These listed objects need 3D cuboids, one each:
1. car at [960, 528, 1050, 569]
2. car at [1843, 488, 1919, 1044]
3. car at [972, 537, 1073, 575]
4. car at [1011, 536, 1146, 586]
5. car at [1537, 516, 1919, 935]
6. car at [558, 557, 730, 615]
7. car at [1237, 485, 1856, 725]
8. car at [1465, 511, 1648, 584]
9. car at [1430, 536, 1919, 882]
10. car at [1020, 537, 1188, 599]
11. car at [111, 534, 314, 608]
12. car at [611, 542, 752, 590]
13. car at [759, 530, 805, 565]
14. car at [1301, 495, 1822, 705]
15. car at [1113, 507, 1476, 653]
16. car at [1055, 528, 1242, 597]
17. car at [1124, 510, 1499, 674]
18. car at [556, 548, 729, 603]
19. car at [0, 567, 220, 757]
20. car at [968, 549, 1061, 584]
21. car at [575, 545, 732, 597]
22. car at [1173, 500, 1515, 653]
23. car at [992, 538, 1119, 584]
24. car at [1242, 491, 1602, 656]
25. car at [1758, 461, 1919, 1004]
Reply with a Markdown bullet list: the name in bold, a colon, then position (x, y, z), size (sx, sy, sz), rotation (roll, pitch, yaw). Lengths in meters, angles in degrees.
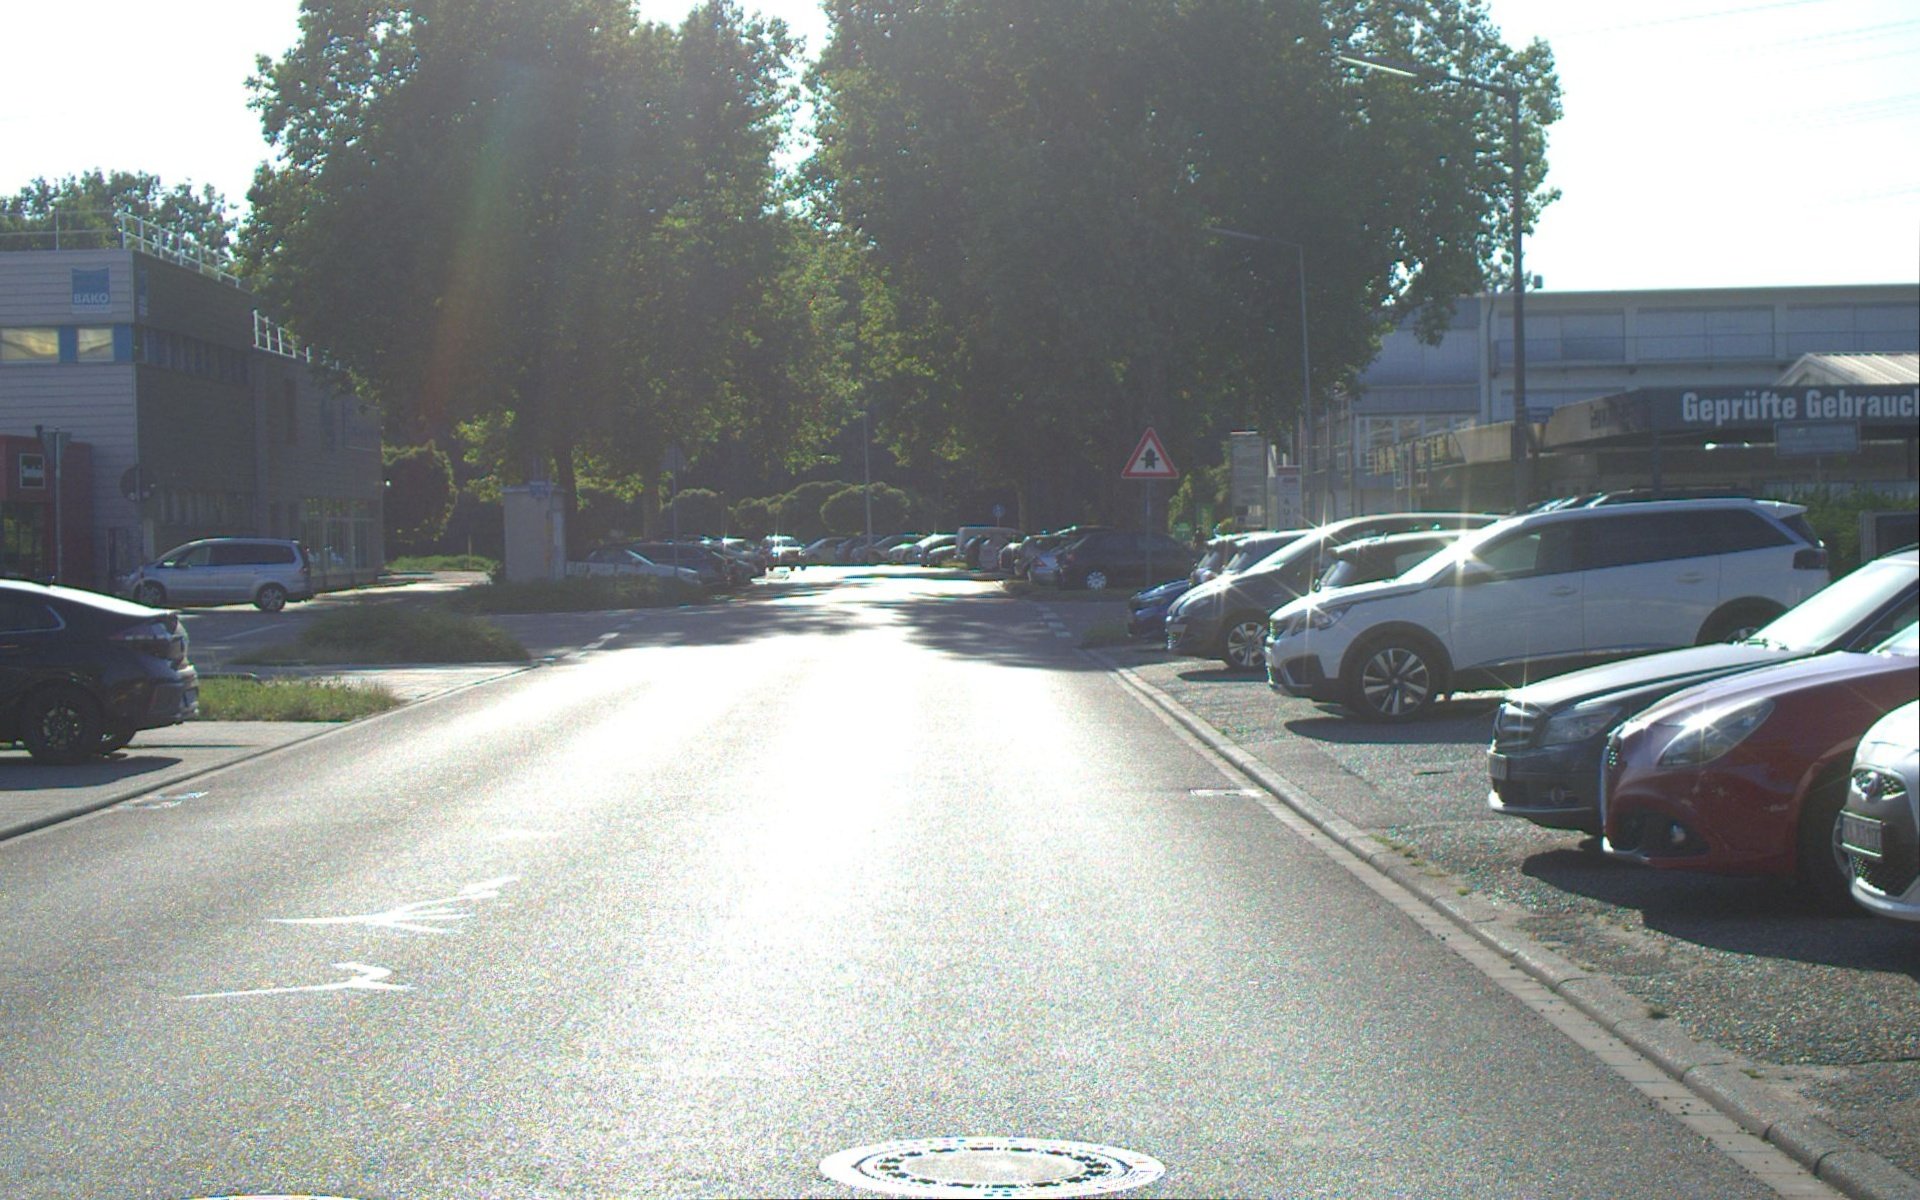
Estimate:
- **car**: position (2.021, -2.325, 155.381), size (3.987, 1.771, 1.827), rotation (-2, 1, 0)
- **car**: position (4.848, 0.426, 9.645), size (4.108, 1.612, 2.059), rotation (-2, 1, -4)
- **car**: position (2.522, -1.780, 139.371), size (3.987, 1.411, 1.827), rotation (-2, 1, 0)
- **car**: position (3.588, -1.192, 104.779), size (3.987, 1.411, 1.827), rotation (-2, 1, 0)
- **car**: position (4.682, 0.475, 14.162), size (4.241, 1.599, 1.746), rotation (0, 1, -4)
- **car**: position (-8.343, -0.382, 90.931), size (4.415, 1.511, 2.000), rotation (0, 1, -2)
- **car**: position (4.749, 0.025, 28.344), size (4.554, 1.592, 2.202), rotation (-4, 1, -3)
- **car**: position (14.243, -1.249, 82.189), size (3.986, 1.694, 2.000), rotation (0, 1, -1)
- **car**: position (4.657, 0.422, 16.470), size (4.436, 1.431, 2.135), rotation (-3, 1, -1)
- **car**: position (3.486, -0.783, 83.899), size (3.987, 1.411, 1.827), rotation (-2, 1, 0)
- **car**: position (-17.912, -0.695, 82.318), size (4.628, 1.735, 2.001), rotation (0, 1, -16)
- **car**: position (-9.072, -1.115, 112.158), size (4.415, 1.511, 2.000), rotation (0, 1, 1)
- **car**: position (-8.502, -2.492, 164.226), size (1.993, 1.603, 4.000), rotation (1, 1, 0)
- **car**: position (5.341, -0.015, 30.933), size (4.248, 1.618, 1.921), rotation (-3, 1, -1)
- **car**: position (4.440, -0.281, 46.042), size (4.523, 1.667, 1.754), rotation (-3, 1, -4)
- **car**: position (4.170, -0.831, 76.557), size (3.987, 1.411, 2.000), rotation (-2, 1, 0)
- **car**: position (3.929, -0.095, 38.398), size (3.988, 1.608, 1.999), rotation (-2, 0, 7)
- **car**: position (-8.192, -0.644, 88.748), size (4.414, 1.398, 2.000), rotation (0, 1, -5)
- **car**: position (-8.246, 0.466, 27.380), size (4.313, 1.455, 2.202), rotation (0, 0, -3)
- **car**: position (2.394, -1.482, 151.621), size (3.987, 1.411, 1.827), rotation (-2, 1, 0)
- **car**: position (-9.035, -0.867, 101.516), size (4.415, 1.511, 2.000), rotation (0, 1, 1)
- **car**: position (4.824, -0.303, 43.560), size (3.986, 1.646, 1.743), rotation (-4, 1, -3)
- **car**: position (3.073, -1.247, 110.757), size (3.987, 1.376, 1.827), rotation (-2, 1, 0)
- **car**: position (5.517, -0.321, 41.431), size (3.987, 1.646, 1.801), rotation (-4, 1, 0)
- **car**: position (5.060, 0.419, 11.869), size (4.108, 1.734, 1.884), rotation (0, 1, -4)
